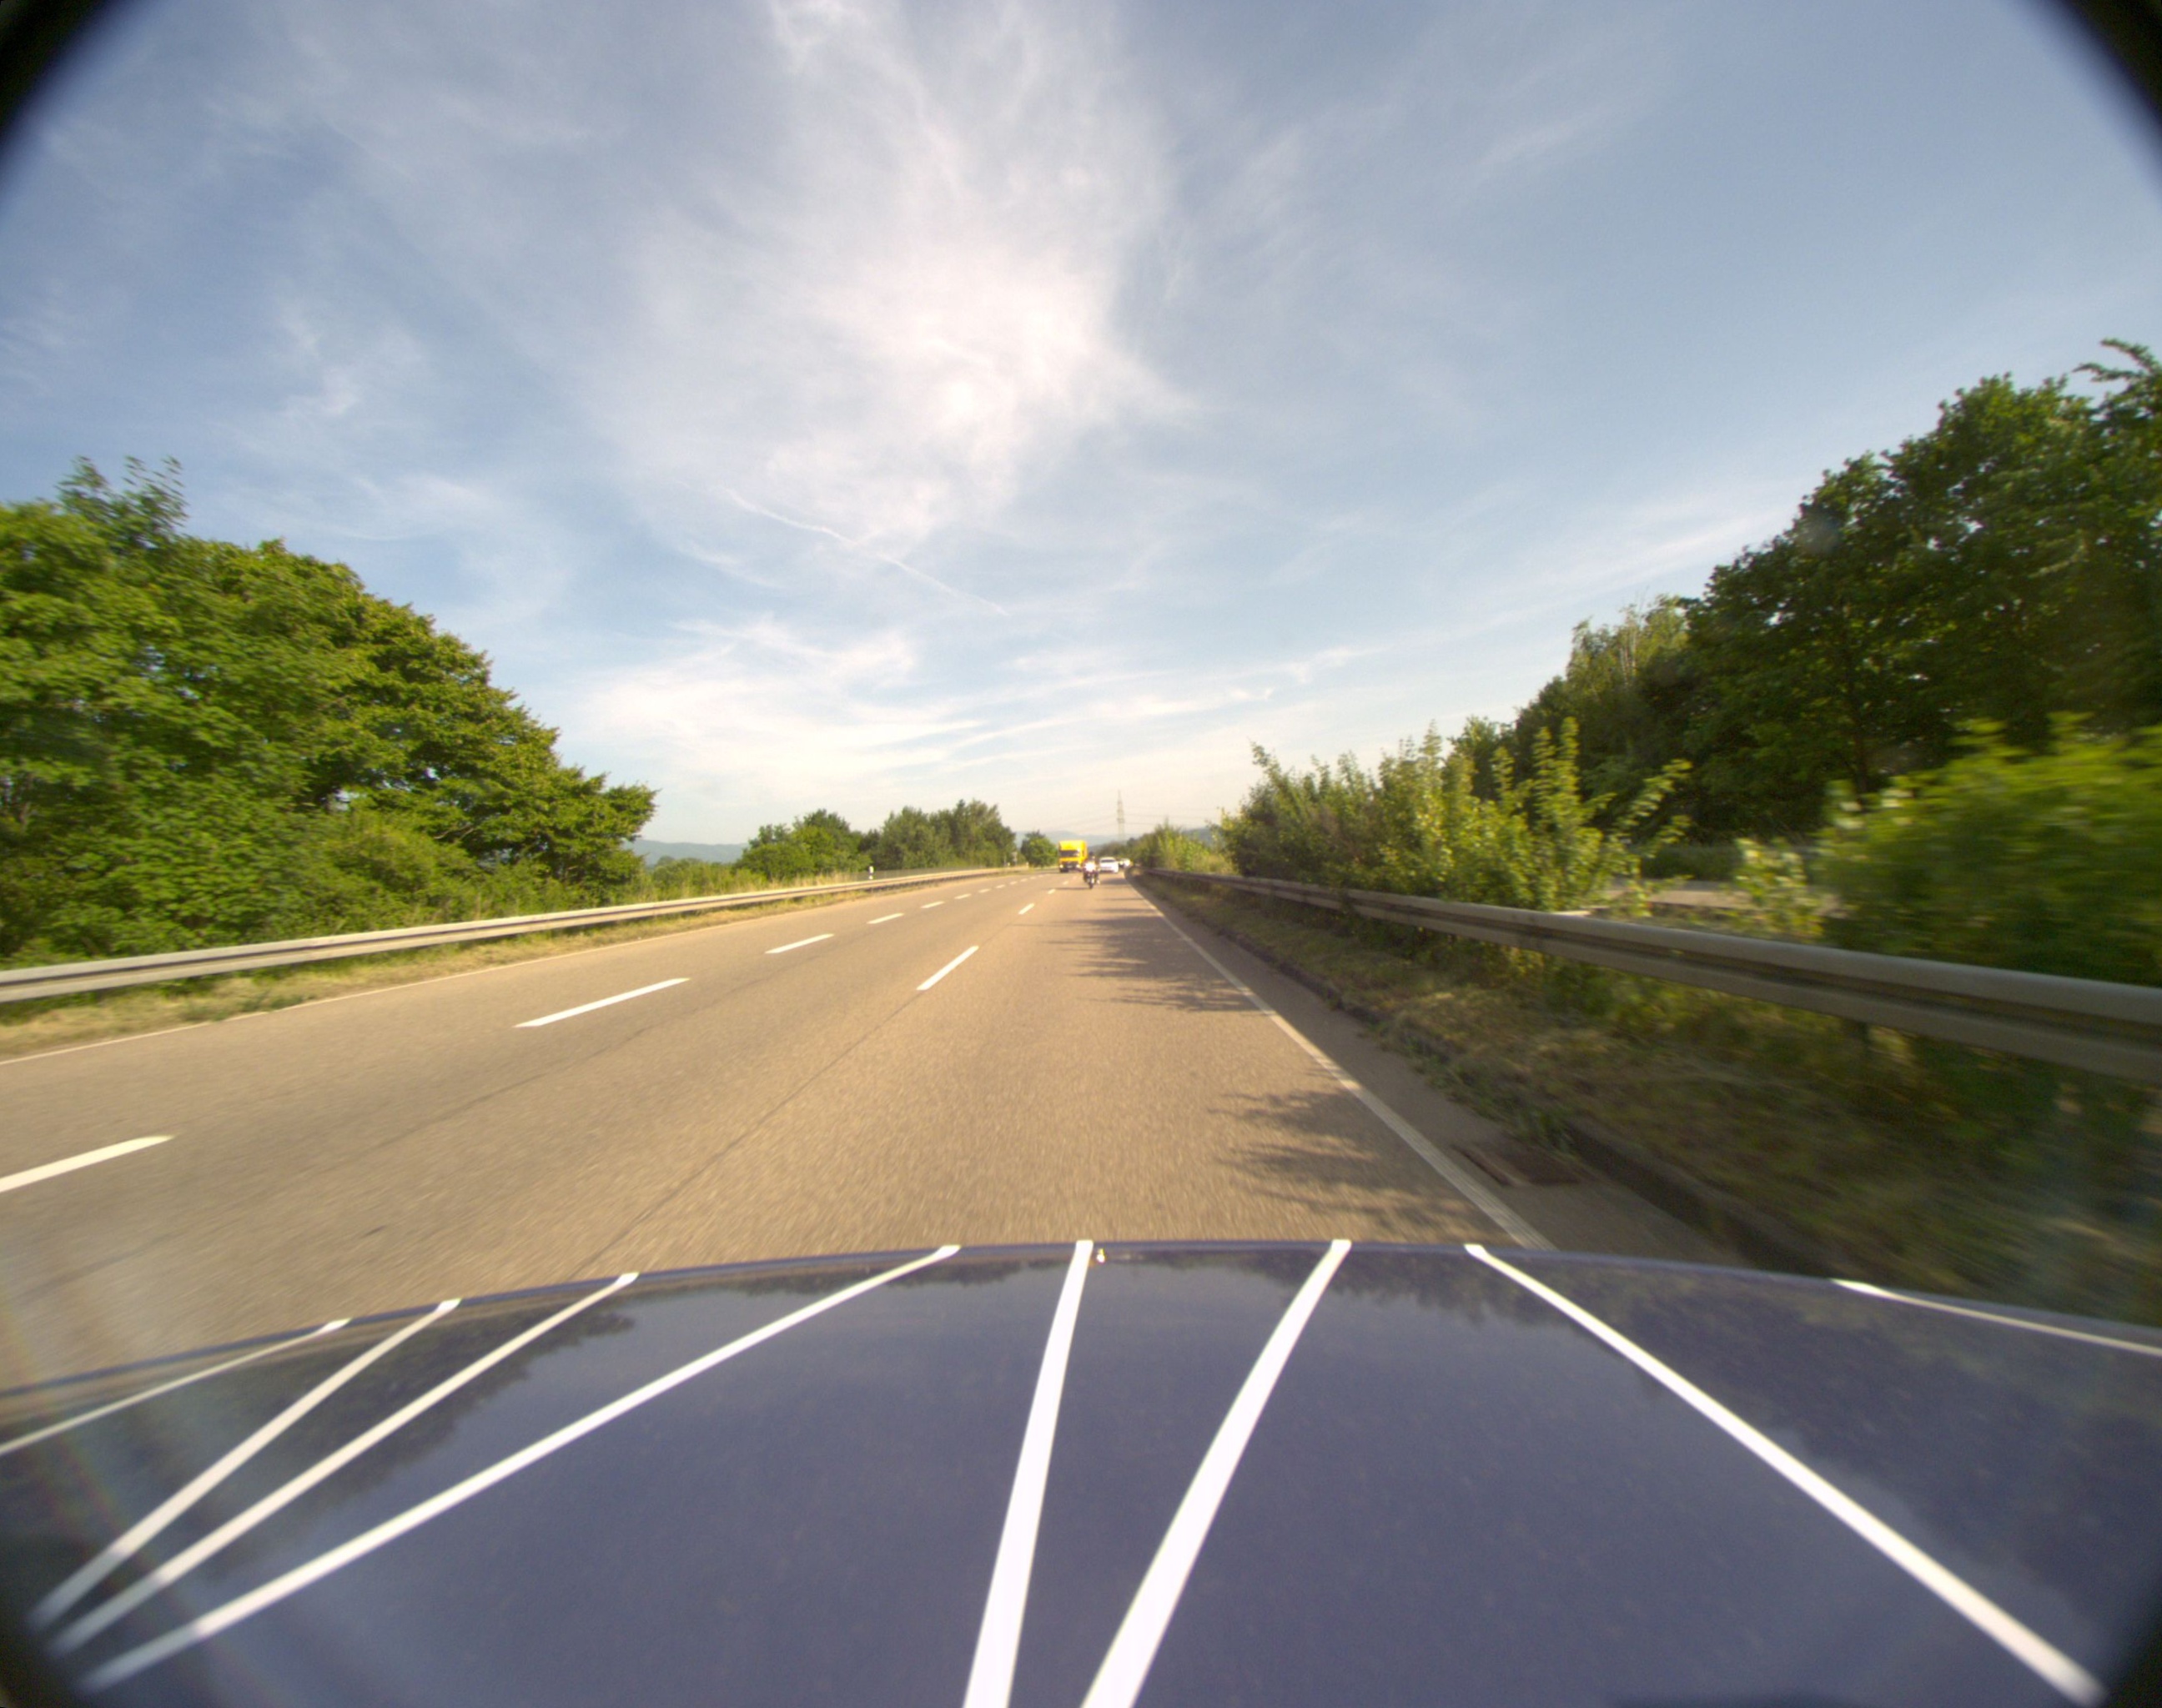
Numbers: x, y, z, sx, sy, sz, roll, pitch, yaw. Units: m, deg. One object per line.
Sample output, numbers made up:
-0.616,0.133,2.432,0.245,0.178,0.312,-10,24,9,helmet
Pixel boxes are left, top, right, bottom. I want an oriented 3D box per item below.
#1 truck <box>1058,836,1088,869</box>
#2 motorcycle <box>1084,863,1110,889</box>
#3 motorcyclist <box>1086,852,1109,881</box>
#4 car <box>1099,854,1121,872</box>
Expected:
-0.752,-0.096,82.835,2.785,3.297,10.491,-2,-1,1,truck
0.795,1.029,36.165,0.936,1.131,2.584,-2,0,8,motorcycle
0.781,0.602,36.169,0.936,1.344,1.143,-2,1,7,motorcyclist
2.728,0.806,69.777,1.869,1.454,4.084,-2,0,4,car
